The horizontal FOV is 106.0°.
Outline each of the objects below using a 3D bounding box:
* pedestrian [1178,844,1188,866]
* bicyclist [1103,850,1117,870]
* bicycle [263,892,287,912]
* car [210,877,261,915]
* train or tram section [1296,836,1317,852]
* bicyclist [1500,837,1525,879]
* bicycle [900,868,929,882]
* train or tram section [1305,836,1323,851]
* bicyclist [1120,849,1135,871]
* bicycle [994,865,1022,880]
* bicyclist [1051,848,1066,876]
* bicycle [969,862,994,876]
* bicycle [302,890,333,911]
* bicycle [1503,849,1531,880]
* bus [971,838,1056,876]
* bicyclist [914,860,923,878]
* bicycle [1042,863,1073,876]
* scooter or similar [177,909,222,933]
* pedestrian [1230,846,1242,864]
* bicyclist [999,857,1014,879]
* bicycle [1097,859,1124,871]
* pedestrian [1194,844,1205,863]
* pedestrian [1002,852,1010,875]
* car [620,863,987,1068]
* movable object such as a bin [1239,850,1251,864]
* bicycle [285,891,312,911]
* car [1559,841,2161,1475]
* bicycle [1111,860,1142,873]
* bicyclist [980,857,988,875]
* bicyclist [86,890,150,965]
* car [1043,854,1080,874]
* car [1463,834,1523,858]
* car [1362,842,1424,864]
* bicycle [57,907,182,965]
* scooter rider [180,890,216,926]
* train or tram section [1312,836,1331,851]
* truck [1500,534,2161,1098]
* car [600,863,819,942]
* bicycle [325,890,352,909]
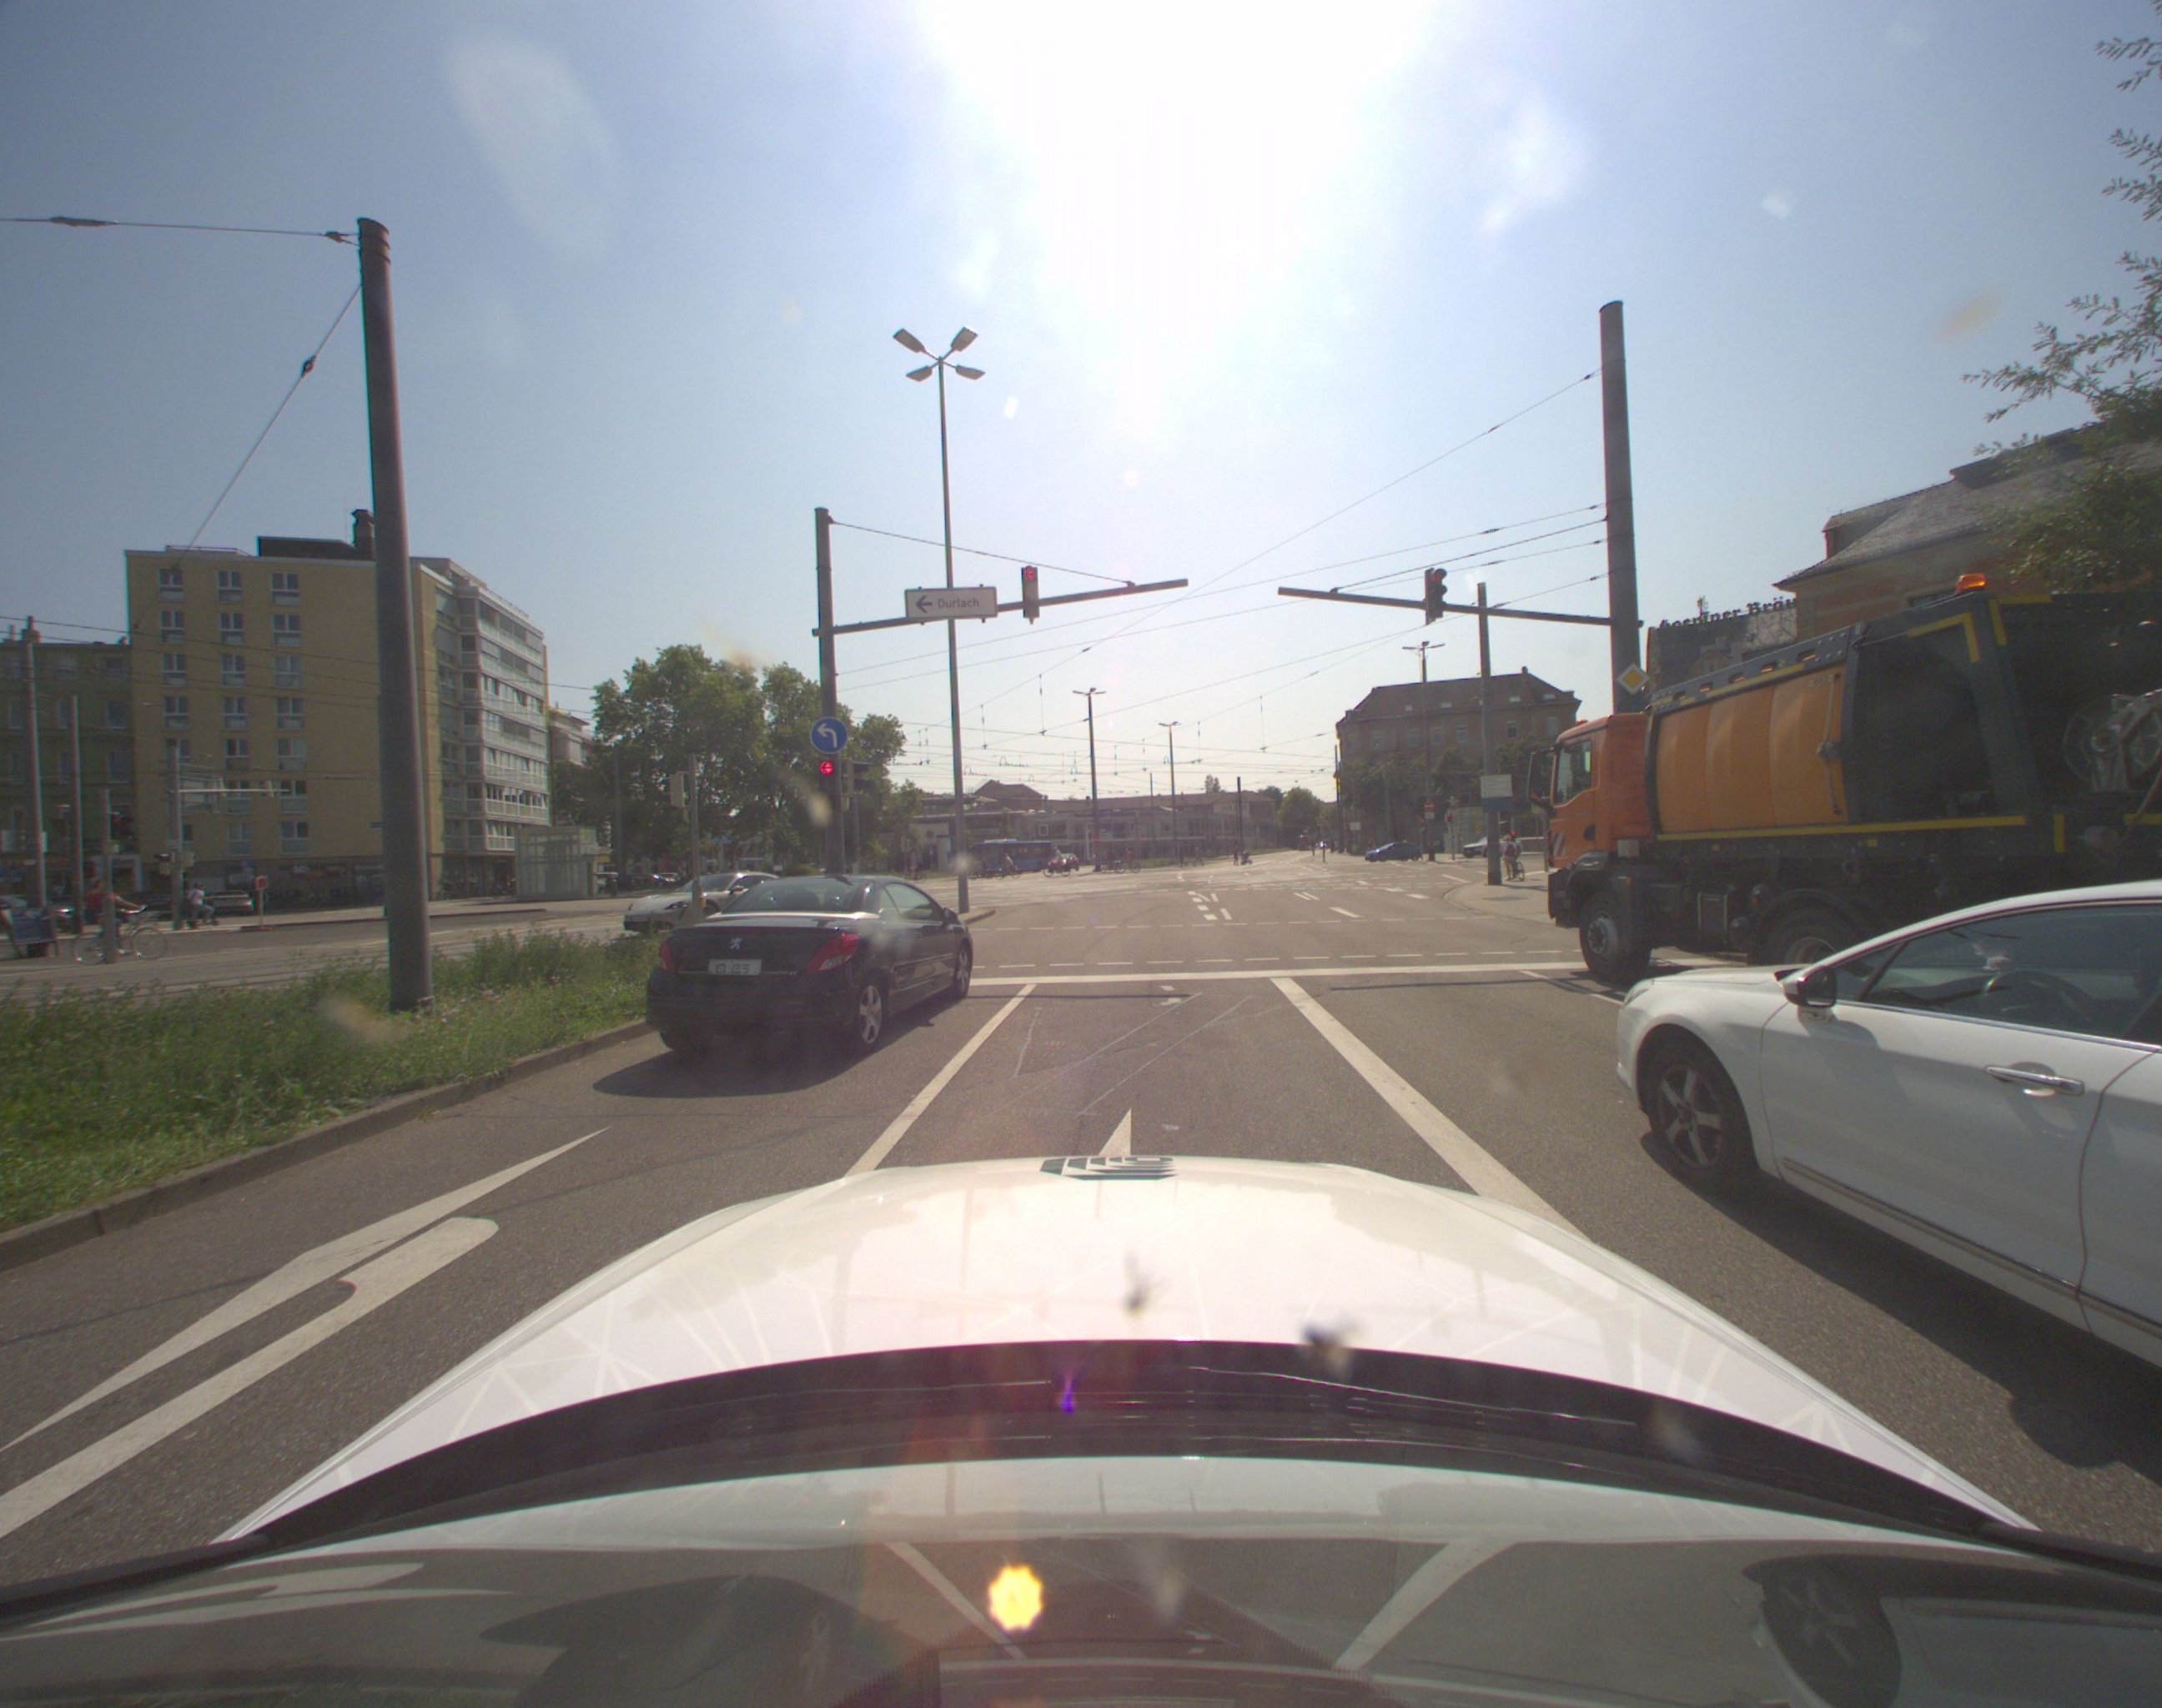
[{"bbox_3d":[8.251,0.067,66.083,0.527,1.721,0.492,-3,0,44],"label":"pedestrian"},{"bbox_3d":[2.129,0.451,60.282,0.872,1.475,0.543,-2,0,-14],"label":"bicyclist"},{"bbox_3d":[-51.099,3.022,51.631,2.755,1.204,0.699,-3,0,38],"label":"bicycle"},{"bbox_3d":[-46.574,2.290,44.869,3.949,1.925,1.814,-3,0,44],"label":"car"},{"bbox_3d":[52.358,-2.407,188.960,2.564,3.516,10.963,-2,0,26],"label":"train or tram section"},{"bbox_3d":[15.718,0.139,29.687,0.623,1.517,0.715,-2,0,16],"label":"bicyclist"},{"bbox_3d":[-12.448,1.588,60.833,2.032,0.942,0.466,-2,0,-9],"label":"bicycle"},{"bbox_3d":[56.763,-2.520,198.307,2.564,3.516,9.715,-2,0,25],"label":"train or tram section"},{"bbox_3d":[3.231,0.387,56.501,0.871,1.483,0.496,-2,0,-10],"label":"bicyclist"},{"bbox_3d":[-4.981,1.246,55.406,1.813,0.942,0.566,-2,0,-9],"label":"bicycle"},{"bbox_3d":[-1.507,0.526,55.087,0.923,1.807,0.496,-2,0,-9],"label":"bicyclist"},{"bbox_3d":[-7.492,1.113,61.463,1.813,0.942,0.415,-2,0,-9],"label":"bicycle"},{"bbox_3d":[-48.915,2.979,52.152,3.221,1.204,0.916,-3,0,38],"label":"bicycle"},{"bbox_3d":[15.648,0.350,29.254,0.532,1.055,1.661,-2,0,16],"label":"bicycle"},{"bbox_3d":[-5.790,0.188,73.403,2.540,3.082,12.085,-3,0,21],"label":"bus"},{"bbox_3d":[-12.126,1.115,60.834,0.544,1.293,0.557,-2,0,-8],"label":"bicyclist"},{"bbox_3d":[-1.580,1.033,55.071,2.048,0.802,0.478,-2,0,-9],"label":"bicycle"},{"bbox_3d":[-34.490,2.601,31.868,0.519,0.824,1.143,-2,0,-2],"label":"scooter or similar"},{"bbox_3d":[13.005,0.083,68.349,0.848,1.545,0.528,-2,0,-5],"label":"pedestrian"},{"bbox_3d":[-5.057,0.945,55.392,0.909,1.508,0.557,-2,0,-8],"label":"bicyclist"},{"bbox_3d":[2.205,0.841,60.289,1.859,0.802,0.605,-2,0,-15],"label":"bicycle"},{"bbox_3d":[9.859,-0.037,67.736,0.698,1.603,0.572,-2,0,-4],"label":"pedestrian"},{"bbox_3d":[-5.799,0.736,62.962,0.554,1.684,0.452,-2,0,-15],"label":"pedestrian"},{"bbox_3d":[-2.229,0.816,7.715,1.756,1.388,3.789,-1,0,8],"label":"car"},{"bbox_3d":[13.780,0.250,68.405,0.812,1.077,0.510,-2,0,-7],"label":"movable object such as a bin"},{"bbox_3d":[-49.871,2.994,51.890,3.221,1.204,0.699,-3,0,38],"label":"bicycle"},{"bbox_3d":[3.413,0.702,2.250,1.760,1.428,4.616,-2,0,5],"label":"car"},{"bbox_3d":[3.132,0.854,56.491,2.048,0.802,0.478,-2,0,-9],"label":"bicycle"},{"bbox_3d":[-7.332,0.891,61.482,0.544,1.293,0.557,-2,0,-8],"label":"bicyclist"},{"bbox_3d":[-20.619,1.558,17.451,0.556,1.509,0.638,-2,0,-3],"label":"bicyclist"},{"bbox_3d":[-1.638,0.801,70.020,1.734,1.552,4.022,-3,0,22],"label":"car"},{"bbox_3d":[31.486,-0.617,62.258,4.342,1.618,1.740,-2,0,-24],"label":"car"},{"bbox_3d":[22.875,-0.057,59.767,3.979,1.394,1.594,-2,0,-4],"label":"car"},{"bbox_3d":[-20.494,1.743,17.382,1.926,1.093,0.503,-2,0,-3],"label":"bicycle"},{"bbox_3d":[-34.616,2.111,31.927,0.684,1.353,0.608,-2,0,-3],"label":"scooter rider"},{"bbox_3d":[61.579,-2.765,208.418,2.565,3.516,13.047,-2,0,25],"label":"train or tram section"},{"bbox_3d":[6.801,-0.230,7.903,2.480,3.134,6.872,-1,0,6],"label":"truck"},{"bbox_3d":[-8.925,1.102,20.096,1.976,1.585,4.742,-2,0,23],"label":"car"},{"bbox_3d":[-47.636,2.914,52.255,3.221,1.204,0.699,-3,0,38],"label":"bicycle"}]
